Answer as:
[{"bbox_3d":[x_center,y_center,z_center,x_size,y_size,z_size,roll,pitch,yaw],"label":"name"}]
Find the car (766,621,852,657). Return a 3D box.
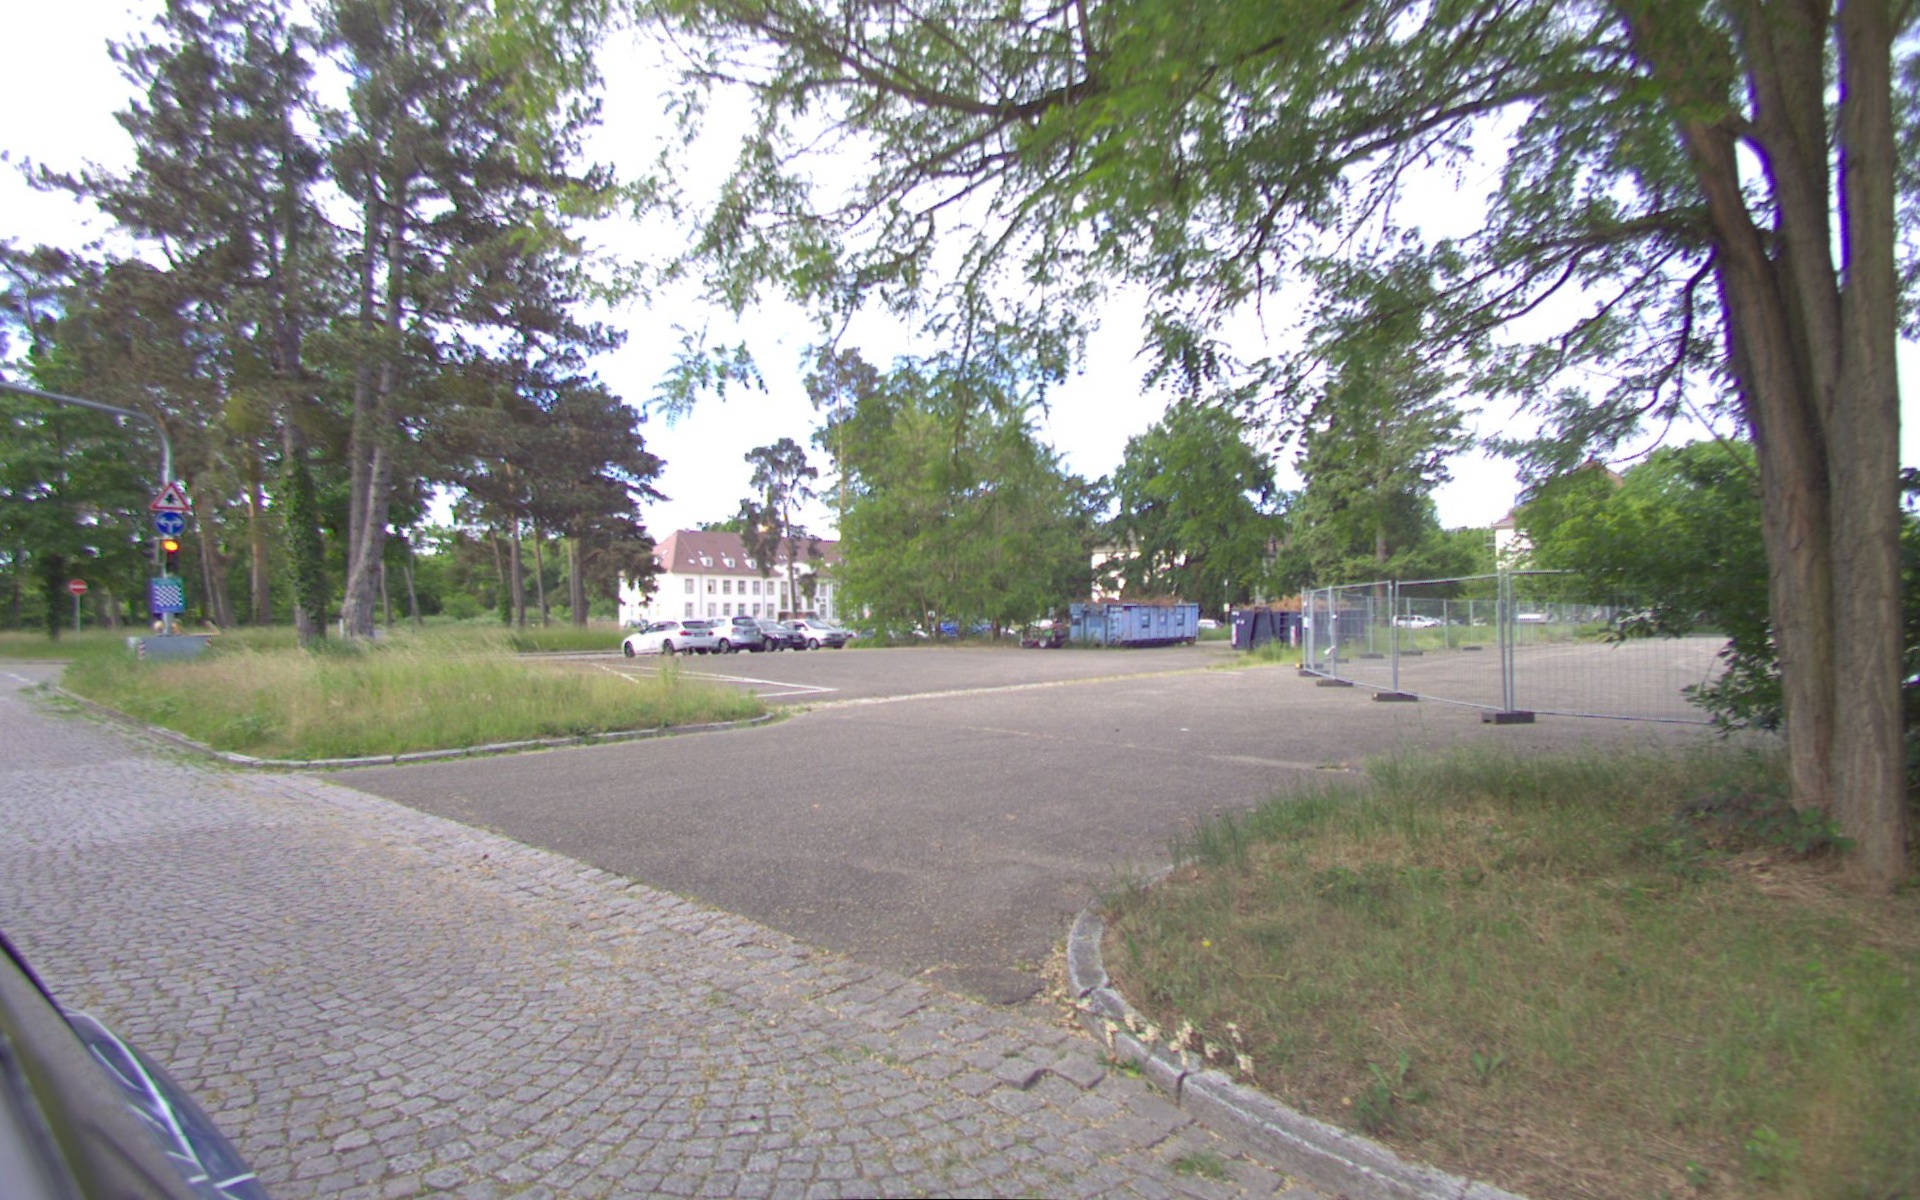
[{"bbox_3d":[-7.046,1.805,46.952,4.113,1.533,1.713,-4,-3,43],"label":"car"}]

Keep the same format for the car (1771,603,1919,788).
[{"bbox_3d":[9.074,0.729,7.719,4.463,1.449,1.698,-2,-2,40],"label":"car"}]

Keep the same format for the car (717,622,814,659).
[{"bbox_3d":[-8.647,1.800,44.742,4.584,1.480,1.815,-4,-3,43],"label":"car"}]

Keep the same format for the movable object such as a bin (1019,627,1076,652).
[{"bbox_3d":[3.349,1.526,38.933,1.931,0.940,1.029,-2,-3,35],"label":"movable object such as a bin"}]

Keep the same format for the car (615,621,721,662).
[{"bbox_3d":[-11.742,1.682,40.545,4.651,1.461,1.816,-4,-3,40],"label":"car"}]

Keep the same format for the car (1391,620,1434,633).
[{"bbox_3d":[57.565,3.419,128.777,4.580,1.645,1.816,-2,-2,40],"label":"car"}]

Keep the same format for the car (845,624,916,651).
[{"bbox_3d":[-5.090,2.418,64.489,4.580,1.571,1.816,-4,-3,40],"label":"car"}]

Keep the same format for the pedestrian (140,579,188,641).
[{"bbox_3d":[-20.055,0.264,25.501,0.869,1.529,0.824,0,-2,-34],"label":"pedestrian"}]

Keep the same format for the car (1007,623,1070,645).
[{"bbox_3d":[6.015,2.624,77.456,4.580,1.533,1.816,-4,-3,40],"label":"car"}]

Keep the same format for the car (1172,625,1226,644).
[{"bbox_3d":[22.564,3.264,95.599,4.580,1.533,1.816,-4,-3,40],"label":"car"}]

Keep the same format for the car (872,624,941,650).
[{"bbox_3d":[-3.562,2.471,67.123,4.580,1.586,1.816,-4,-3,40],"label":"car"}]

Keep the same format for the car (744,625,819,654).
[{"bbox_3d":[-10.460,2.327,59.105,4.580,1.571,1.816,-4,-3,40],"label":"car"}]

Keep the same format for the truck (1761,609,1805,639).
[{"bbox_3d":[64.267,1.833,78.957,2.373,2.215,6.464,-2,-2,41],"label":"truck"}]

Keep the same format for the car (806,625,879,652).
[{"bbox_3d":[-7.333,2.412,62.867,4.580,1.533,1.816,-4,-3,40],"label":"car"}]

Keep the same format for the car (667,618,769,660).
[{"bbox_3d":[-10.227,1.656,42.647,4.580,1.590,1.816,-4,-3,40],"label":"car"}]
